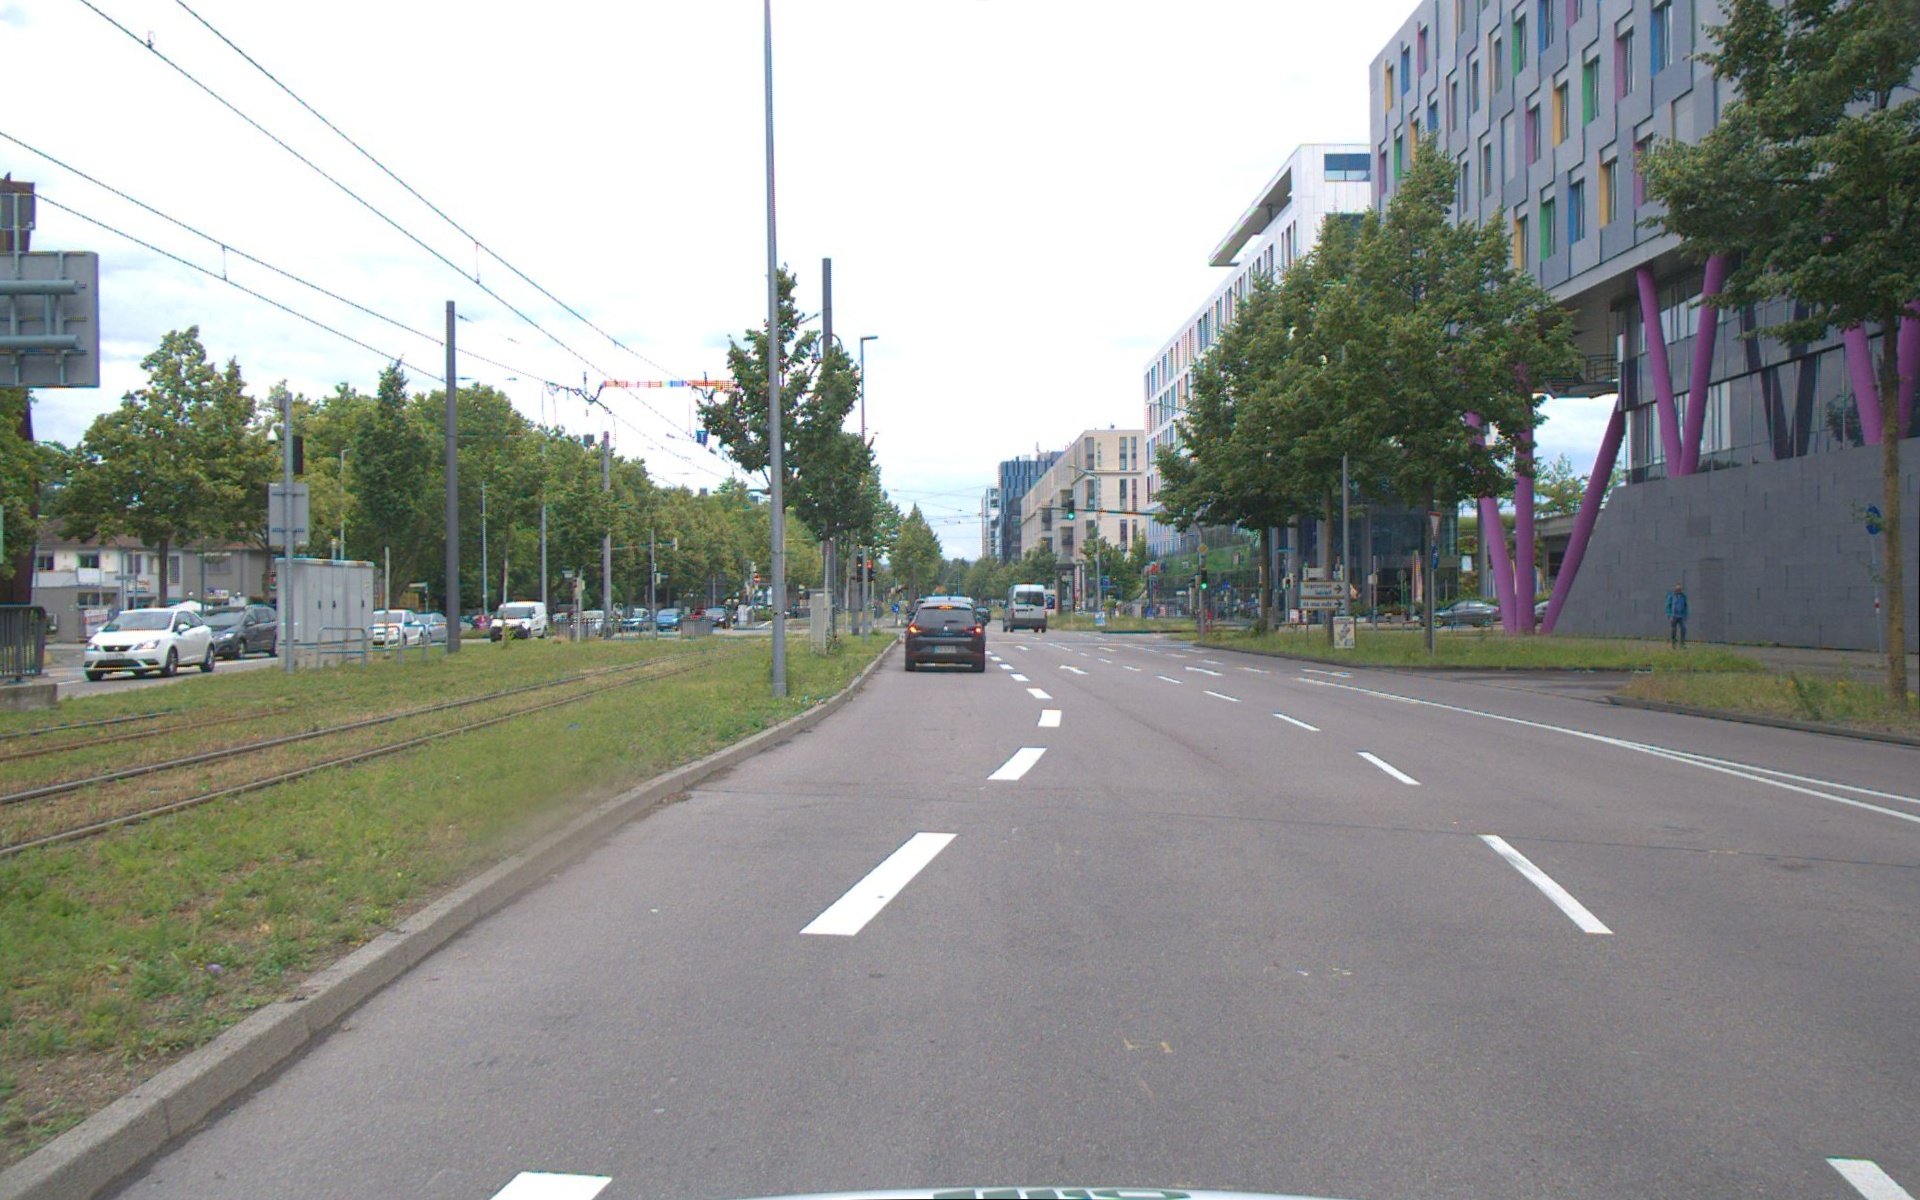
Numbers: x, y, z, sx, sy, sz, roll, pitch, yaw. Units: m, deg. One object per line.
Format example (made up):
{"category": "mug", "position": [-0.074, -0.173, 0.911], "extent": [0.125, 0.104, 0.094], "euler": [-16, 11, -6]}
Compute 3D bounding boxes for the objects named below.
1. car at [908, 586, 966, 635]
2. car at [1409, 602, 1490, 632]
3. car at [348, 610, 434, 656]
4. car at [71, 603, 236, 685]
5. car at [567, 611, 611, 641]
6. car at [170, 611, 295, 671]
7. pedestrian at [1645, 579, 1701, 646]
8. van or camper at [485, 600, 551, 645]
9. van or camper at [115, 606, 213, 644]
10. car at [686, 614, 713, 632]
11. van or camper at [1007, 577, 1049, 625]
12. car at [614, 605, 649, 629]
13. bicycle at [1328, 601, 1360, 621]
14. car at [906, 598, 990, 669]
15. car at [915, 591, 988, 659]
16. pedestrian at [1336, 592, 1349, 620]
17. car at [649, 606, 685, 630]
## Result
{"category": "car", "position": [-0.800, 0.386, 60.910], "extent": [1.952, 1.711, 4.001], "euler": [1, 0, 1]}
{"category": "car", "position": [28.233, 0.969, 95.524], "extent": [4.163, 1.643, 1.758], "euler": [-1, 0, 1]}
{"category": "car", "position": [-19.960, 1.134, 58.196], "extent": [1.728, 1.505, 4.569], "euler": [-1, 0, -4]}
{"category": "car", "position": [-17.289, 0.897, 35.689], "extent": [1.956, 1.613, 4.370], "euler": [-1, 0, -9]}
{"category": "car", "position": [-20.634, 1.441, 92.222], "extent": [1.695, 1.470, 4.917], "euler": [-2, 1, -5]}
{"category": "car", "position": [-23.881, 1.300, 54.531], "extent": [1.953, 1.855, 4.967], "euler": [0, 0, -1]}
{"category": "pedestrian", "position": [19.655, 0.337, 45.631], "extent": [1.030, 1.801, 1.137], "euler": [-1, 0, 0]}
{"category": "van or camper", "position": [-20.530, 1.018, 76.947], "extent": [1.851, 1.933, 5.122], "euler": [-2, 0, -2]}
{"category": "van or camper", "position": [-43.909, 1.383, 91.206], "extent": [5.167, 2.049, 2.460], "euler": [-1, 0, 32]}
{"category": "car", "position": [-24.467, 2.141, 155.436], "extent": [1.759, 1.598, 4.327], "euler": [-1, 0, 0]}
{"category": "van or camper", "position": [3.611, 0.026, 88.737], "extent": [2.066, 2.397, 4.923], "euler": [0, 2, 0]}
{"category": "car", "position": [-23.545, 1.233, 118.815], "extent": [1.760, 1.598, 4.576], "euler": [2, -1, -3]}
{"category": "bicycle", "position": [22.570, 0.645, 97.257], "extent": [1.755, 1.104, 0.618], "euler": [-1, 0, 1]}
{"category": "car", "position": [-0.303, 0.686, 36.065], "extent": [1.708, 1.442, 3.999], "euler": [1, 0, -2]}
{"category": "car", "position": [-0.229, 0.611, 42.363], "extent": [1.766, 1.653, 3.999], "euler": [-1, 0, -1]}
{"category": "pedestrian", "position": [22.507, 0.379, 97.256], "extent": [0.602, 1.632, 0.619], "euler": [-1, 0, 1]}
{"category": "car", "position": [-20.544, 1.254, 116.135], "extent": [1.924, 1.616, 4.686], "euler": [0, 0, -2]}
